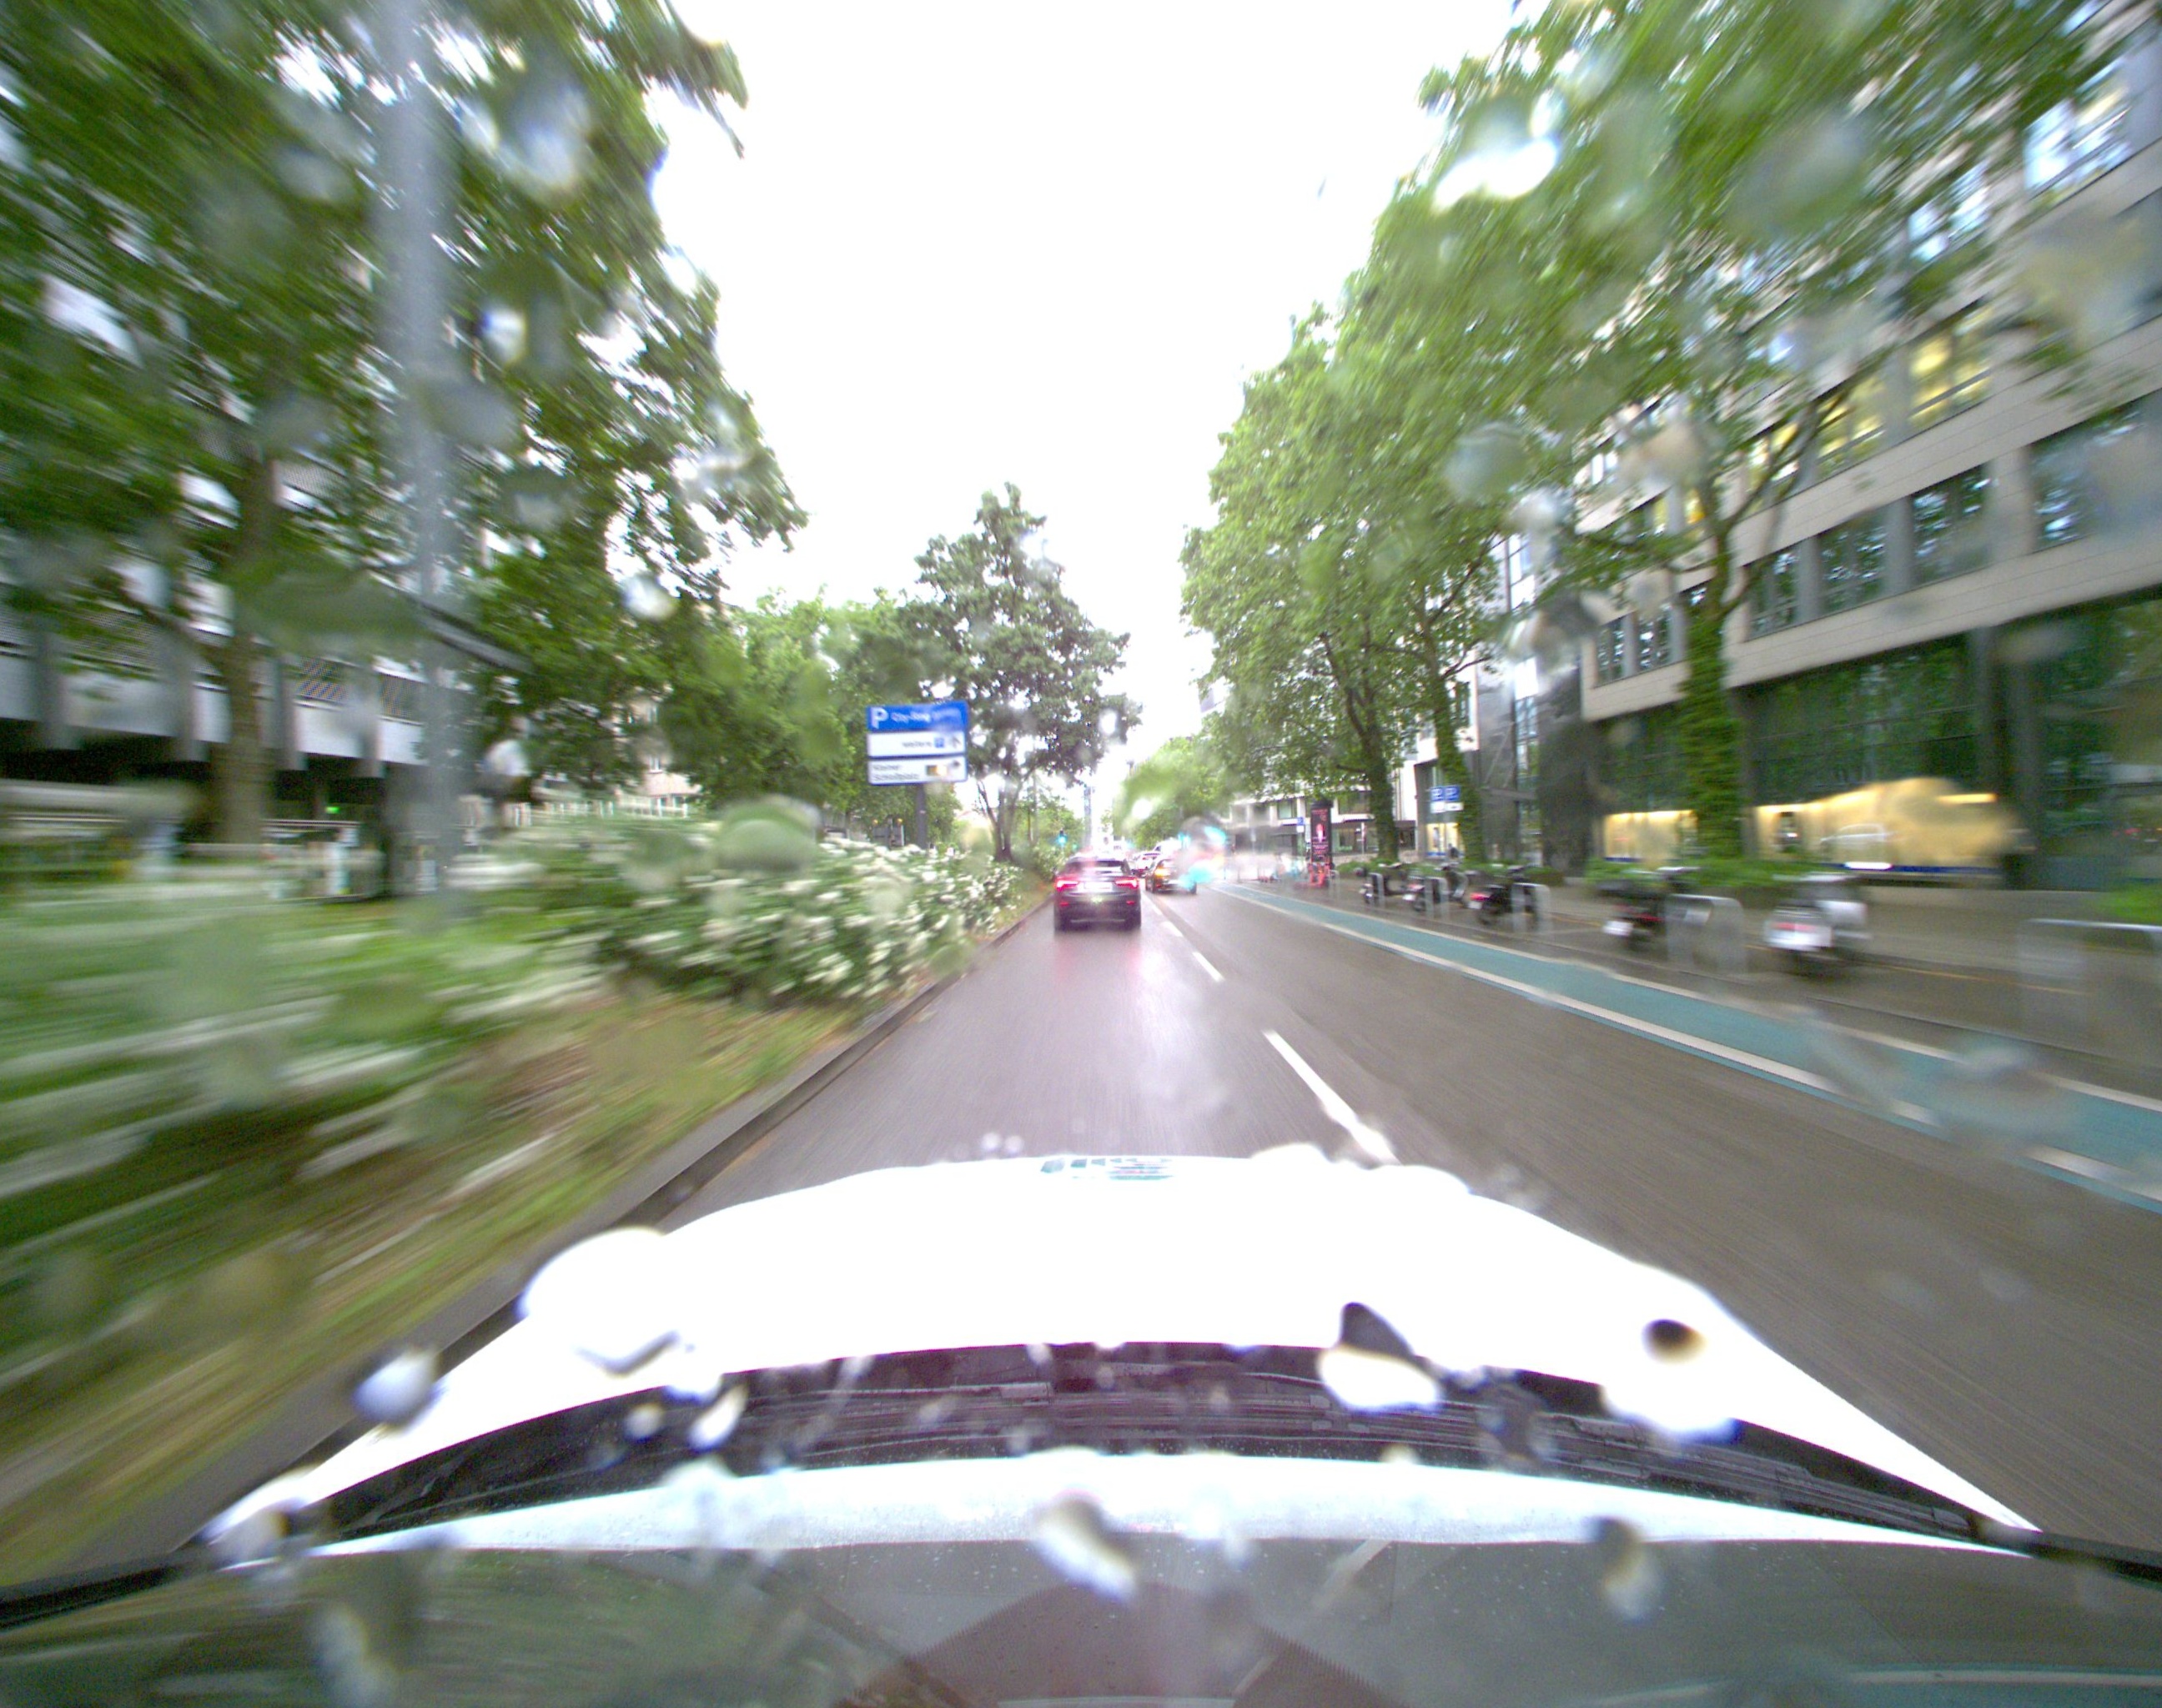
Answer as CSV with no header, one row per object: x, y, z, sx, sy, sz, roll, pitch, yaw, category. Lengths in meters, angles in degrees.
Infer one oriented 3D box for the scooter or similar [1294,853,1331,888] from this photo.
9.059,0.638,31.894,1.283,1.278,0.538,-3,1,5,scooter or similar

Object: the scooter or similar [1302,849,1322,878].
10.501,0.417,37.038,0.486,1.259,1.294,-3,2,2,scooter or similar

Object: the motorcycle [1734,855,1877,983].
8.350,0.691,9.354,2.069,1.212,0.677,-4,0,-34,motorcycle

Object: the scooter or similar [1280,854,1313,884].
9.507,0.674,35.898,1.284,1.235,0.490,-3,1,3,scooter or similar

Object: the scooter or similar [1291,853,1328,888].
9.055,0.643,32.338,1.283,1.278,0.538,-3,1,5,scooter or similar

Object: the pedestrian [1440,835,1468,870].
19.909,-0.086,43.495,0.914,1.850,1.277,-1,-1,0,pedestrian

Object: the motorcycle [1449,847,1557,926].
8.313,0.612,16.038,1.962,1.373,0.724,-4,2,-20,motorcycle

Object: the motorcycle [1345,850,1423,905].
8.460,0.642,22.748,1.959,1.373,0.725,-4,1,-15,motorcycle

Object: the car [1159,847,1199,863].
9.633,0.098,79.906,3.618,1.547,1.723,-1,0,20,car

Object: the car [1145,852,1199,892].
3.634,0.689,33.223,1.843,1.523,4.040,-1,0,1,car

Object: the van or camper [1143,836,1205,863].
9.780,-0.454,86.008,6.008,2.558,2.117,-2,0,28,van or camper

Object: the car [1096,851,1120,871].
2.234,0.557,67.619,1.843,1.523,4.040,-1,0,1,car

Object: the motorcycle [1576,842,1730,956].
8.196,0.595,11.665,2.060,1.428,0.724,-4,2,-20,motorcycle

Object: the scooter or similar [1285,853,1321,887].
9.002,0.651,33.024,1.289,1.278,0.535,-3,1,-10,scooter or similar

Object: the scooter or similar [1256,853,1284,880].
9.274,0.618,39.977,1.280,1.259,0.491,-3,1,13,scooter or similar

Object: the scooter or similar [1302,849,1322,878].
10.501,0.417,37.038,0.486,1.259,1.294,-3,2,2,scooter or similar

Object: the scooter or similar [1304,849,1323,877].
10.915,0.424,38.262,0.486,1.259,1.294,-3,2,2,scooter or similar

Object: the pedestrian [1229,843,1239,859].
17.061,-0.312,90.556,0.803,1.696,1.186,-1,0,-4,pedestrian

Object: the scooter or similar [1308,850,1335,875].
11.984,0.432,40.580,0.490,1.198,1.281,-1,-1,-29,scooter or similar

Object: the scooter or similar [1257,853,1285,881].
9.180,0.613,39.367,1.280,1.259,0.491,-3,1,13,scooter or similar

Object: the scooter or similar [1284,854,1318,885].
9.487,0.666,35.153,1.284,1.235,0.490,-3,1,3,scooter or similar

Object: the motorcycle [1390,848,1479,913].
8.473,0.607,19.539,1.962,1.373,0.724,-4,2,-20,motorcycle

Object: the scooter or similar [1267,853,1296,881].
9.538,0.602,38.827,1.280,1.259,0.491,-3,1,13,scooter or similar

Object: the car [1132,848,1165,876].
4.264,0.492,52.094,1.843,1.669,4.040,-1,0,1,car

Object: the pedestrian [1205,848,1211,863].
16.316,0.202,104.405,0.551,1.805,0.761,-1,-1,-2,pedestrian

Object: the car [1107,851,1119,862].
4.850,0.398,123.996,1.843,1.523,4.040,-1,0,2,car

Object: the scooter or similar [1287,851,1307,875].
10.823,0.453,40.825,0.487,1.198,1.290,-1,-1,-8,scooter or similar

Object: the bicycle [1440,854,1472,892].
10.772,0.530,23.370,0.631,1.028,1.774,-2,0,30,bicycle

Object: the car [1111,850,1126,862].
5.064,0.270,109.764,1.843,1.523,4.040,-1,0,1,car

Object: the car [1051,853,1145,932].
0.373,0.763,18.237,1.843,1.523,4.039,-1,0,1,car

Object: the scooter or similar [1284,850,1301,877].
10.395,0.451,39.977,0.486,1.259,1.294,-3,2,2,scooter or similar
